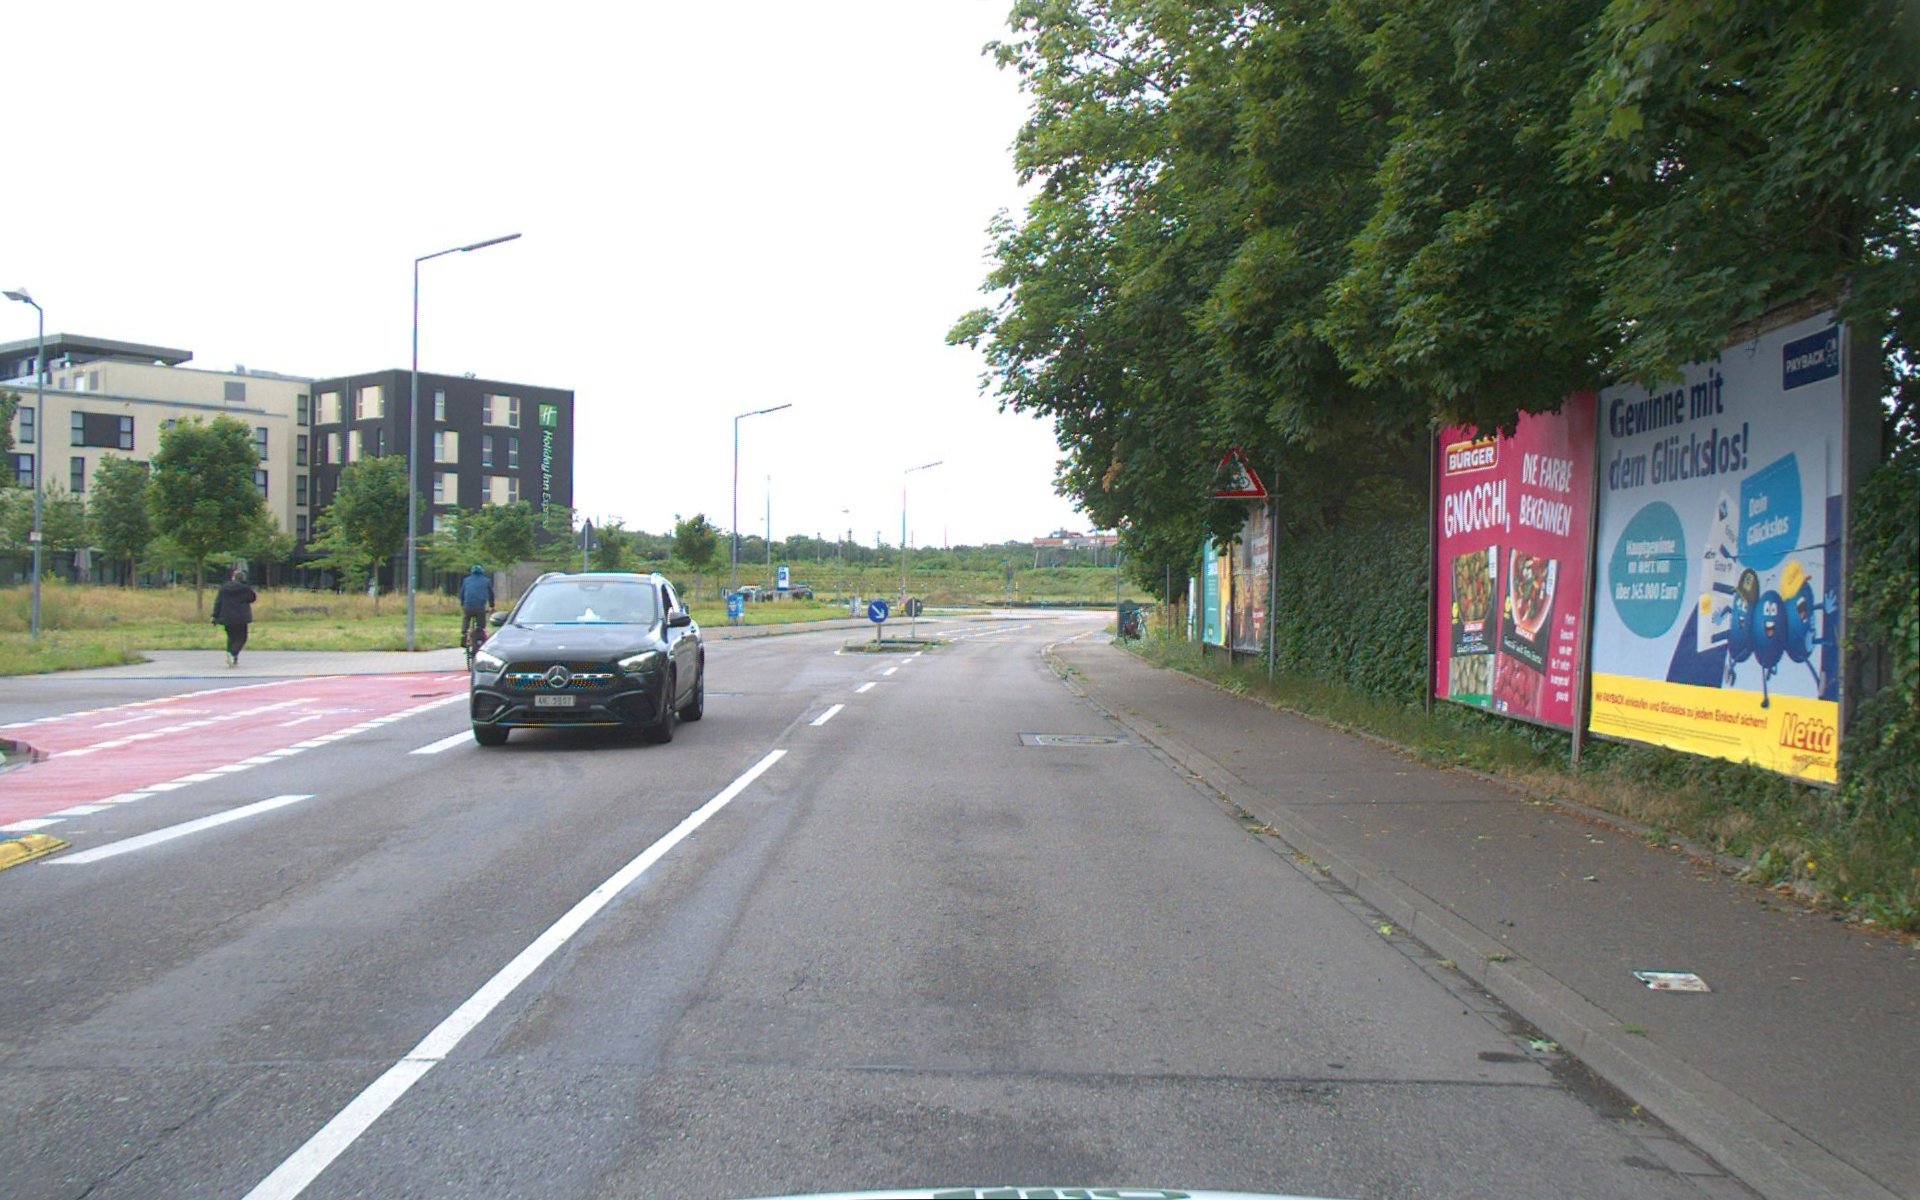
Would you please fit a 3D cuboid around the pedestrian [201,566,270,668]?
[{"bbox_3d":[-13.146,0.300,30.051,0.827,1.814,1.076,0,1,-4],"label":"pedestrian"}]

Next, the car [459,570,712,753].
[{"bbox_3d":[-3.639,0.510,16.837,1.844,1.594,4.355,0,1,-4],"label":"car"}]

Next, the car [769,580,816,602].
[{"bbox_3d":[-14.592,-0.770,143.808,3.929,1.854,1.988,1,1,42],"label":"car"}]

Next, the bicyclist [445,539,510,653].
[{"bbox_3d":[-8.846,-0.080,30.370,0.844,2.049,1.177,0,1,-1],"label":"bicyclist"}]

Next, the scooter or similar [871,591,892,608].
[{"bbox_3d":[-5.909,-0.019,123.881,1.432,1.188,0.572,2,0,15],"label":"scooter or similar"}]

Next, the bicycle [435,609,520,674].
[{"bbox_3d":[-8.851,0.743,30.440,0.866,1.070,2.469,0,1,-1],"label":"bicycle"}]

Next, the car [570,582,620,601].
[{"bbox_3d":[-32.173,-0.754,145.743,1.958,1.544,4.142,1,1,33],"label":"car"}]

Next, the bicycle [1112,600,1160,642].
[{"bbox_3d":[4.857,0.570,45.569,0.779,1.130,1.952,1,0,23],"label":"bicycle"}]
